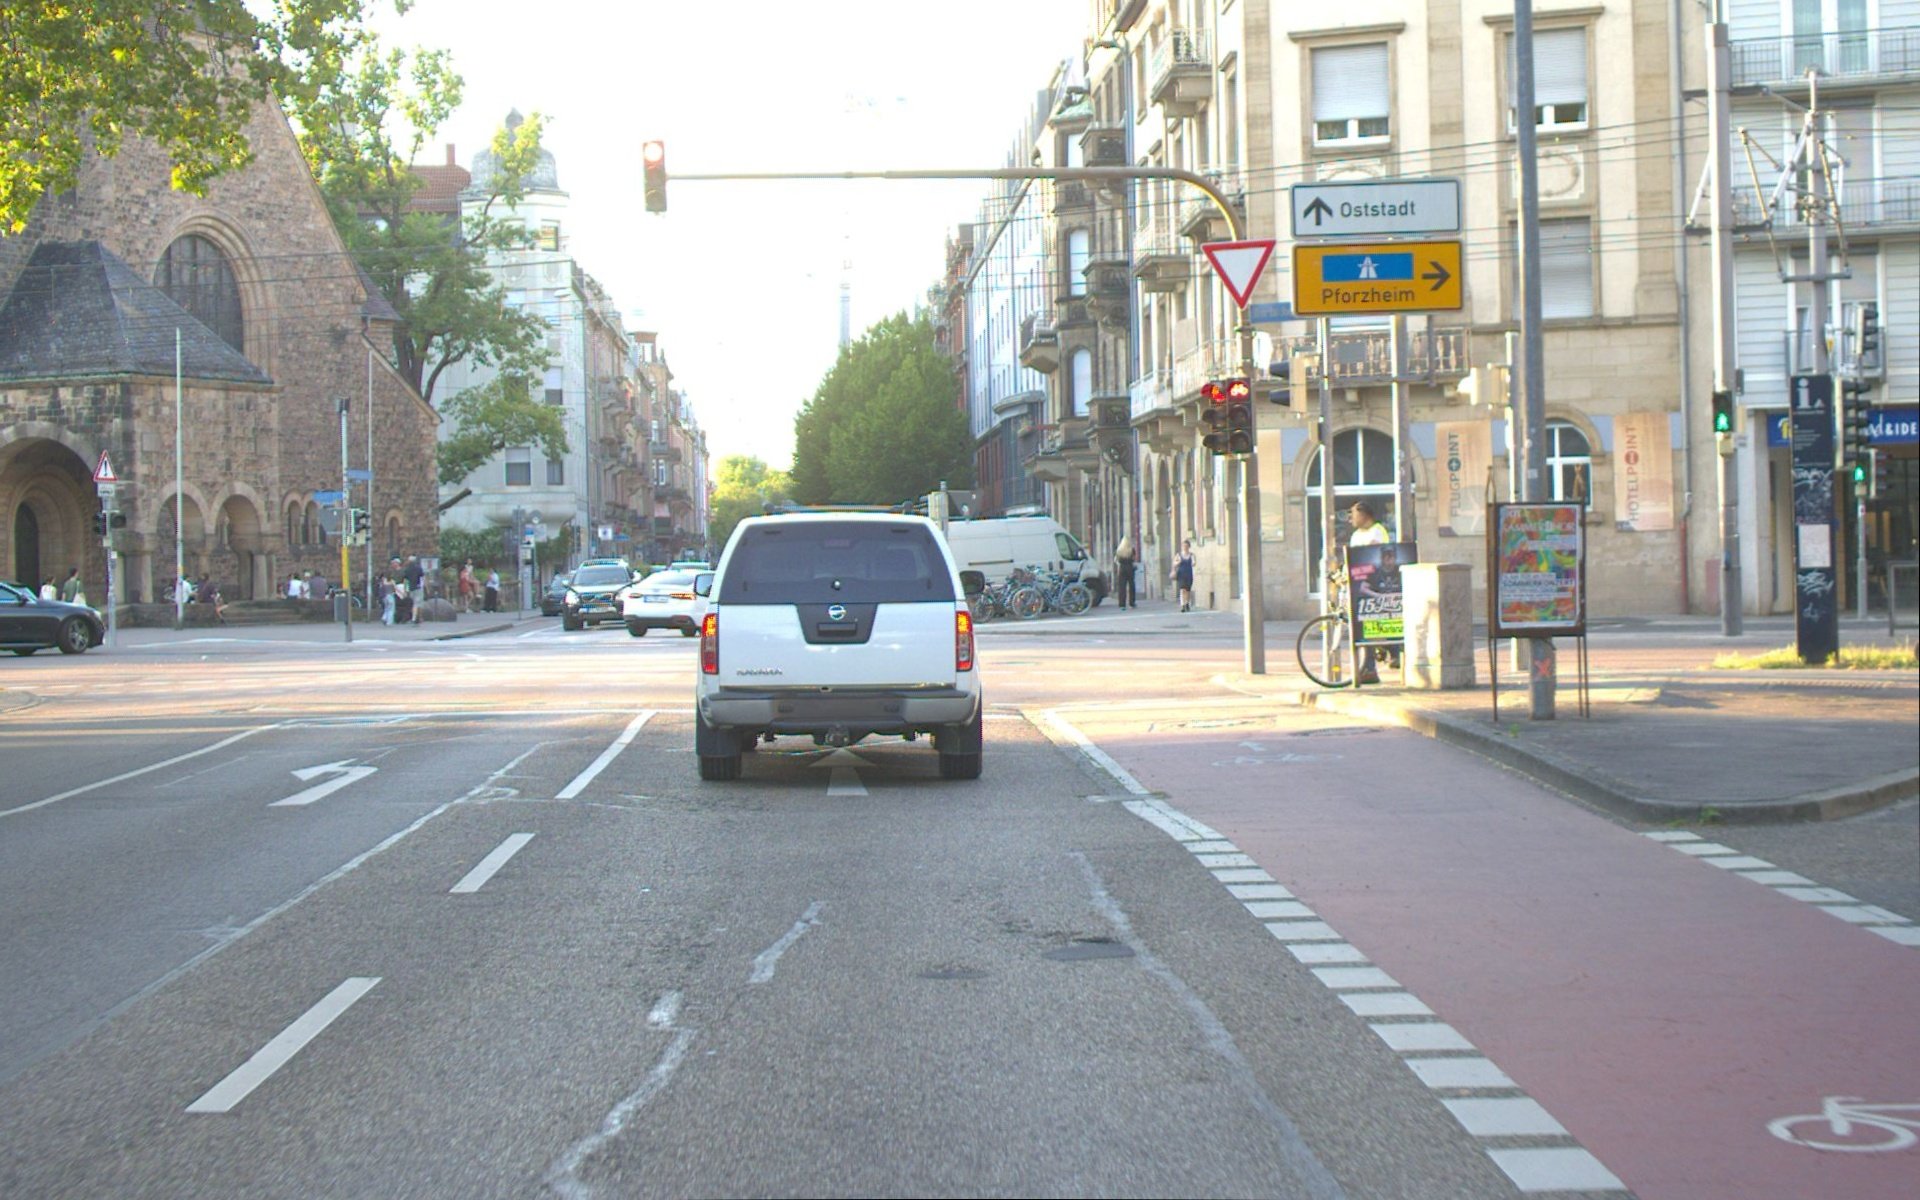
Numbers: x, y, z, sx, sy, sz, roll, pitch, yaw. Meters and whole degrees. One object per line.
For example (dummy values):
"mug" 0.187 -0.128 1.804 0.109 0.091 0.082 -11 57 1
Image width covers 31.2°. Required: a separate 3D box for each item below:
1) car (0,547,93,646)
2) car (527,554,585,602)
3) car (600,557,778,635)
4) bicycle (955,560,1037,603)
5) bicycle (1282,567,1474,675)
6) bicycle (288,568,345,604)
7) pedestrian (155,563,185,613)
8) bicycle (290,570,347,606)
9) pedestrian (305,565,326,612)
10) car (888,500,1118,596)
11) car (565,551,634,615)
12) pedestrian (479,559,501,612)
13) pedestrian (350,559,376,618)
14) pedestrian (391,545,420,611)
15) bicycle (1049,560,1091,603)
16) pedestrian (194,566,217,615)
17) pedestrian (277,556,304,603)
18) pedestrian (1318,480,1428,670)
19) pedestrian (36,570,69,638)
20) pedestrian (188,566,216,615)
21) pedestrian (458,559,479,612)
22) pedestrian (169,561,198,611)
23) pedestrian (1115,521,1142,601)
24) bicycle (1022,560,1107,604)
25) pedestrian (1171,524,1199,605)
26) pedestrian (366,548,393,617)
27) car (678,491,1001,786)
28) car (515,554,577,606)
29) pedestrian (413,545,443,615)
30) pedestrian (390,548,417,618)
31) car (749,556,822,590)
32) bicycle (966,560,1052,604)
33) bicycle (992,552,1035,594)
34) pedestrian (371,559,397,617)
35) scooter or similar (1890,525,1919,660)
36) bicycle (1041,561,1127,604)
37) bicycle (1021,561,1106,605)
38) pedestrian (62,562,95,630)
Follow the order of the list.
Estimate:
"car" -17.238 -0.030 58.684 4.254 1.645 1.999 -2 1 -42
"car" -14.107 -0.772 120.198 1.993 1.645 3.822 0 1 -6
"car" -5.685 -0.104 72.740 1.995 1.525 4.639 -1 1 20
"bicycle" 0.841 -0.437 80.656 1.915 0.965 0.546 -1 1 0
"bicycle" 3.903 0.188 32.172 1.691 0.965 0.546 -1 1 -5
"bicycle" -18.116 -0.396 96.812 1.500 0.965 0.395 -1 1 10
"pedestrian" -20.822 -0.324 90.623 0.573 1.286 0.486 -1 1 14
"bicycle" -18.131 -0.338 97.175 1.500 0.965 0.395 -1 1 10
"pedestrian" -17.985 -0.319 95.955 0.491 1.282 0.499 -1 1 -2
"car" 1.113 -1.310 85.655 5.807 2.280 2.071 -2 1 -41
"car" -9.501 -0.466 90.519 1.781 1.645 3.822 0 1 -6
"pedestrian" -16.806 -0.507 122.977 0.552 1.880 0.595 -1 1 13
"pedestrian" -19.305 -0.369 111.117 0.594 1.880 0.553 -1 1 22
"pedestrian" -15.843 -0.639 98.255 0.593 1.880 0.553 -1 1 15
"bicycle" 2.615 -0.440 81.524 0.544 0.965 1.920 -1 1 16
"pedestrian" -20.052 -0.253 91.363 0.497 1.276 0.493 -1 1 -22
"pedestrian" -18.697 -0.570 96.005 0.573 1.286 0.486 -1 1 14
"pedestrian" 3.920 -0.242 32.664 0.794 1.762 0.721 -1 1 -16
"pedestrian" -21.405 0.085 81.078 0.556 1.578 0.548 -1 1 9
"pedestrian" -20.034 -0.254 90.862 0.498 1.282 0.492 -1 1 19
"pedestrian" -17.565 -0.518 122.836 0.551 1.880 0.595 -2 1 -25
"pedestrian" -20.706 -0.376 91.725 0.573 1.315 0.486 -1 1 14
"pedestrian" 4.027 -0.937 82.144 0.593 1.880 0.647 -1 1 4
"bicycle" 2.412 -0.413 79.383 1.915 0.965 0.546 -1 1 0
"pedestrian" 4.976 -0.791 76.031 0.593 1.762 0.653 -1 1 4
"pedestrian" -15.819 -0.476 93.683 0.593 1.880 0.553 -1 1 2
"car" -0.725 0.212 23.270 1.866 1.808 4.000 1 1 3
"car" -13.527 -0.671 112.471 1.993 1.645 3.822 0 1 -6
"pedestrian" -14.516 -0.541 93.798 0.654 1.880 0.586 -1 1 4
"pedestrian" -15.181 -0.472 93.771 0.593 1.880 0.553 -1 1 2
"car" -9.809 -1.524 193.223 3.986 1.809 2.000 -1 1 -4
"bicycle" 1.135 -0.425 79.845 1.914 0.965 0.546 -1 1 -7
"bicycle" 1.273 -0.651 81.952 0.544 0.965 1.920 -1 1 16
"pedestrian" -18.855 -0.396 112.526 0.594 1.880 0.553 -1 1 22
"scooter or similar" 9.302 -0.073 31.609 0.544 1.246 1.390 -2 1 -38
"bicycle" 2.901 -0.418 80.155 1.916 0.965 0.545 -1 1 16
"bicycle" 2.379 -0.400 79.179 1.915 0.965 0.546 -1 1 0
"pedestrian" -20.781 -0.090 81.054 0.556 1.578 0.548 -1 1 9
